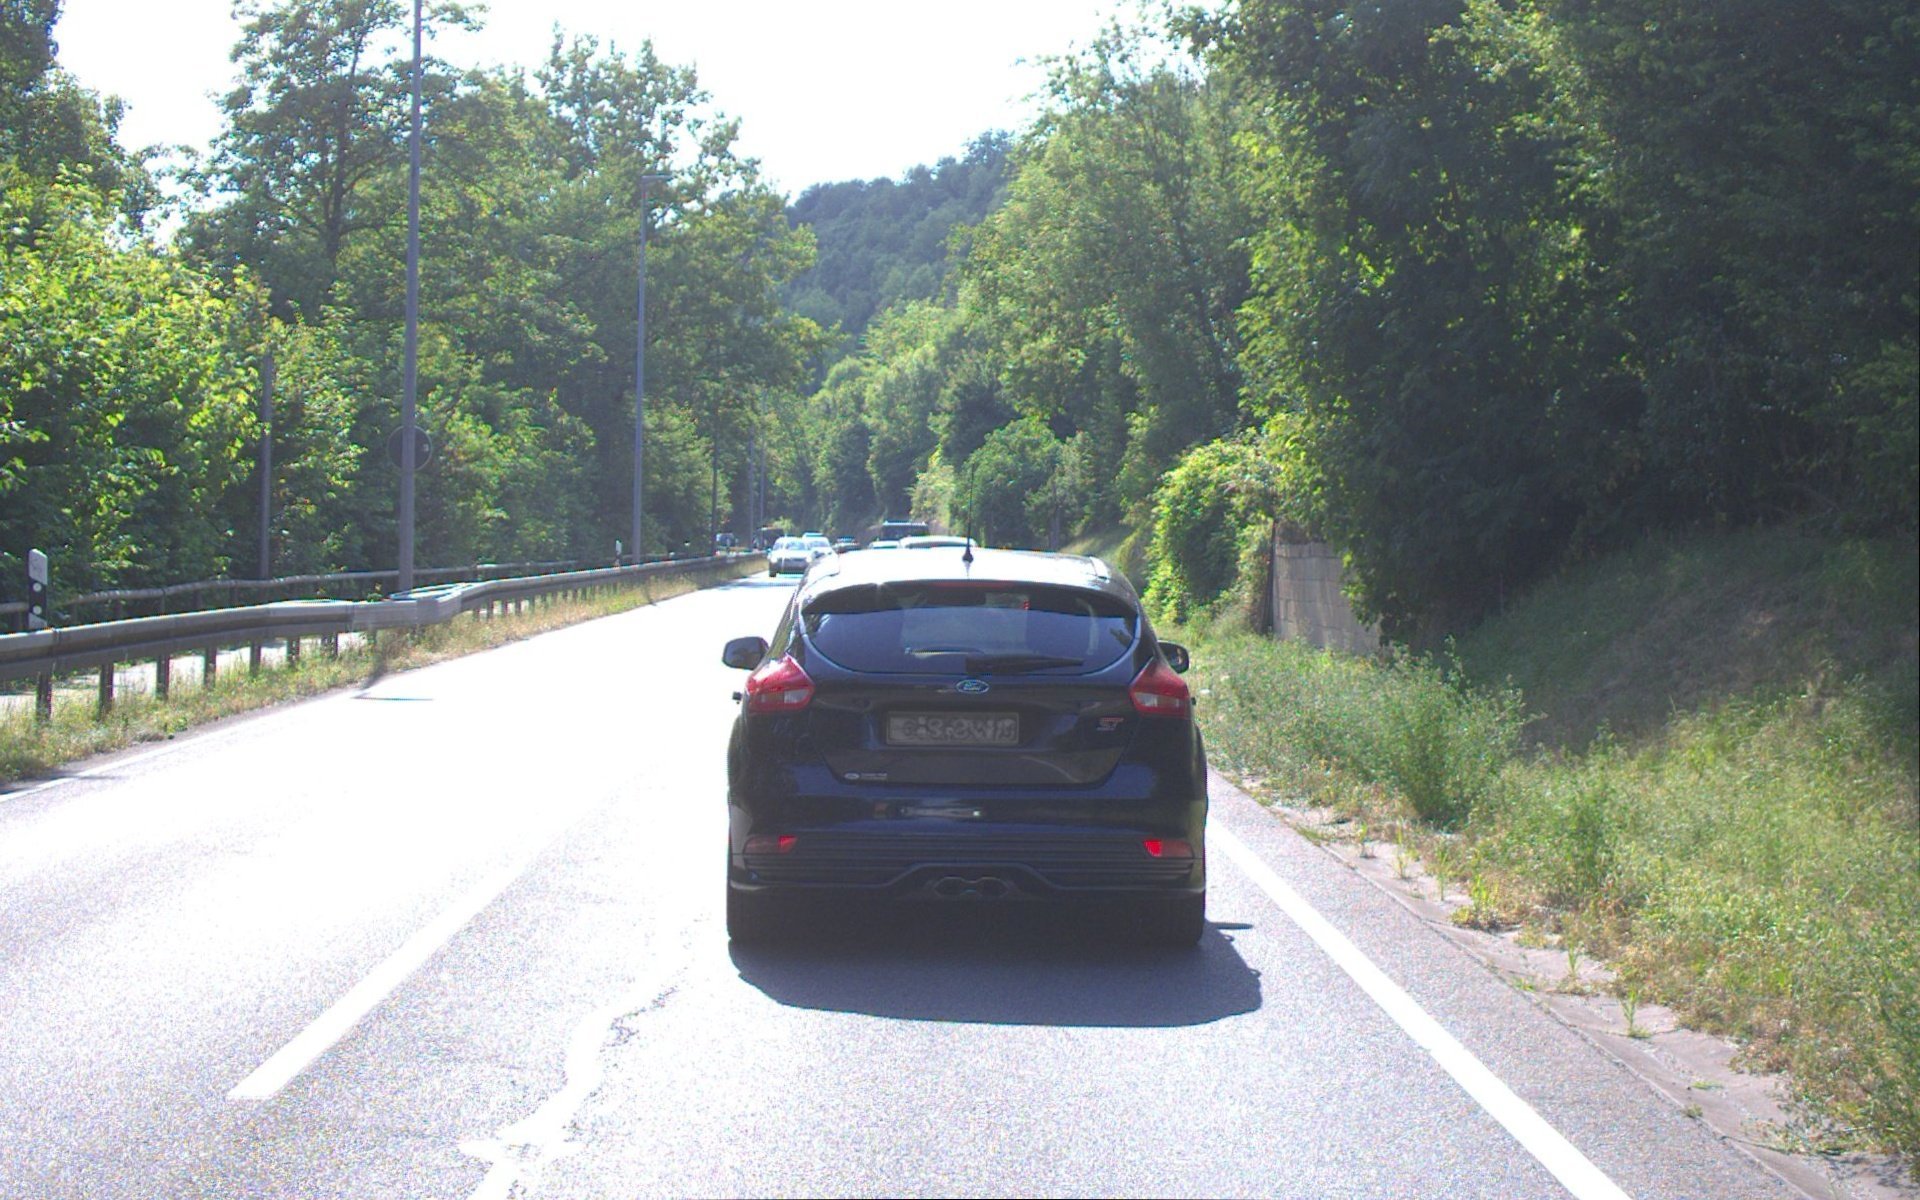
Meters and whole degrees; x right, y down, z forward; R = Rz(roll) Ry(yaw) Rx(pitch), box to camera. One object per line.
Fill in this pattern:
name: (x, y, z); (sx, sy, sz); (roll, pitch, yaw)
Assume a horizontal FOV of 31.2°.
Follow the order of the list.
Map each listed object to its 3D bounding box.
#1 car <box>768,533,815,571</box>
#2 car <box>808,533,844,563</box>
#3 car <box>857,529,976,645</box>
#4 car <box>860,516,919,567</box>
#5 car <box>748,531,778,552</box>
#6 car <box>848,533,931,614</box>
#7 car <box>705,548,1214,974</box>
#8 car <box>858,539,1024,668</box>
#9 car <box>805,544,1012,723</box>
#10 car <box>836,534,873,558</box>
car: (-6.280, -1.800, 128.285); (1.623, 1.372, 4.048); (-1, 1, -1)
car: (-6.547, -2.559, 168.560); (1.681, 1.458, 4.198); (1, 1, -1)
car: (-0.620, -0.224, 49.456); (1.631, 1.590, 4.000); (0, 1, -1)
car: (-2.509, -2.083, 122.050); (1.862, 1.774, 4.001); (0, 1, -4)
car: (-14.949, -4.436, 260.574); (1.993, 1.514, 4.001); (0, 1, -8)
car: (-1.406, -0.560, 69.804); (1.631, 1.590, 4.000); (0, 1, -1)
car: (-0.022, 0.528, 13.876); (1.739, 1.451, 4.000); (1, 1, -1)
car: (-0.229, 0.006, 39.519); (1.804, 1.387, 4.000); (0, 1, -1)
car: (-0.384, 0.238, 29.663); (1.661, 1.413, 4.000); (0, 1, 1)
car: (-6.873, -3.500, 223.649); (1.993, 1.514, 4.001); (0, 1, -8)
